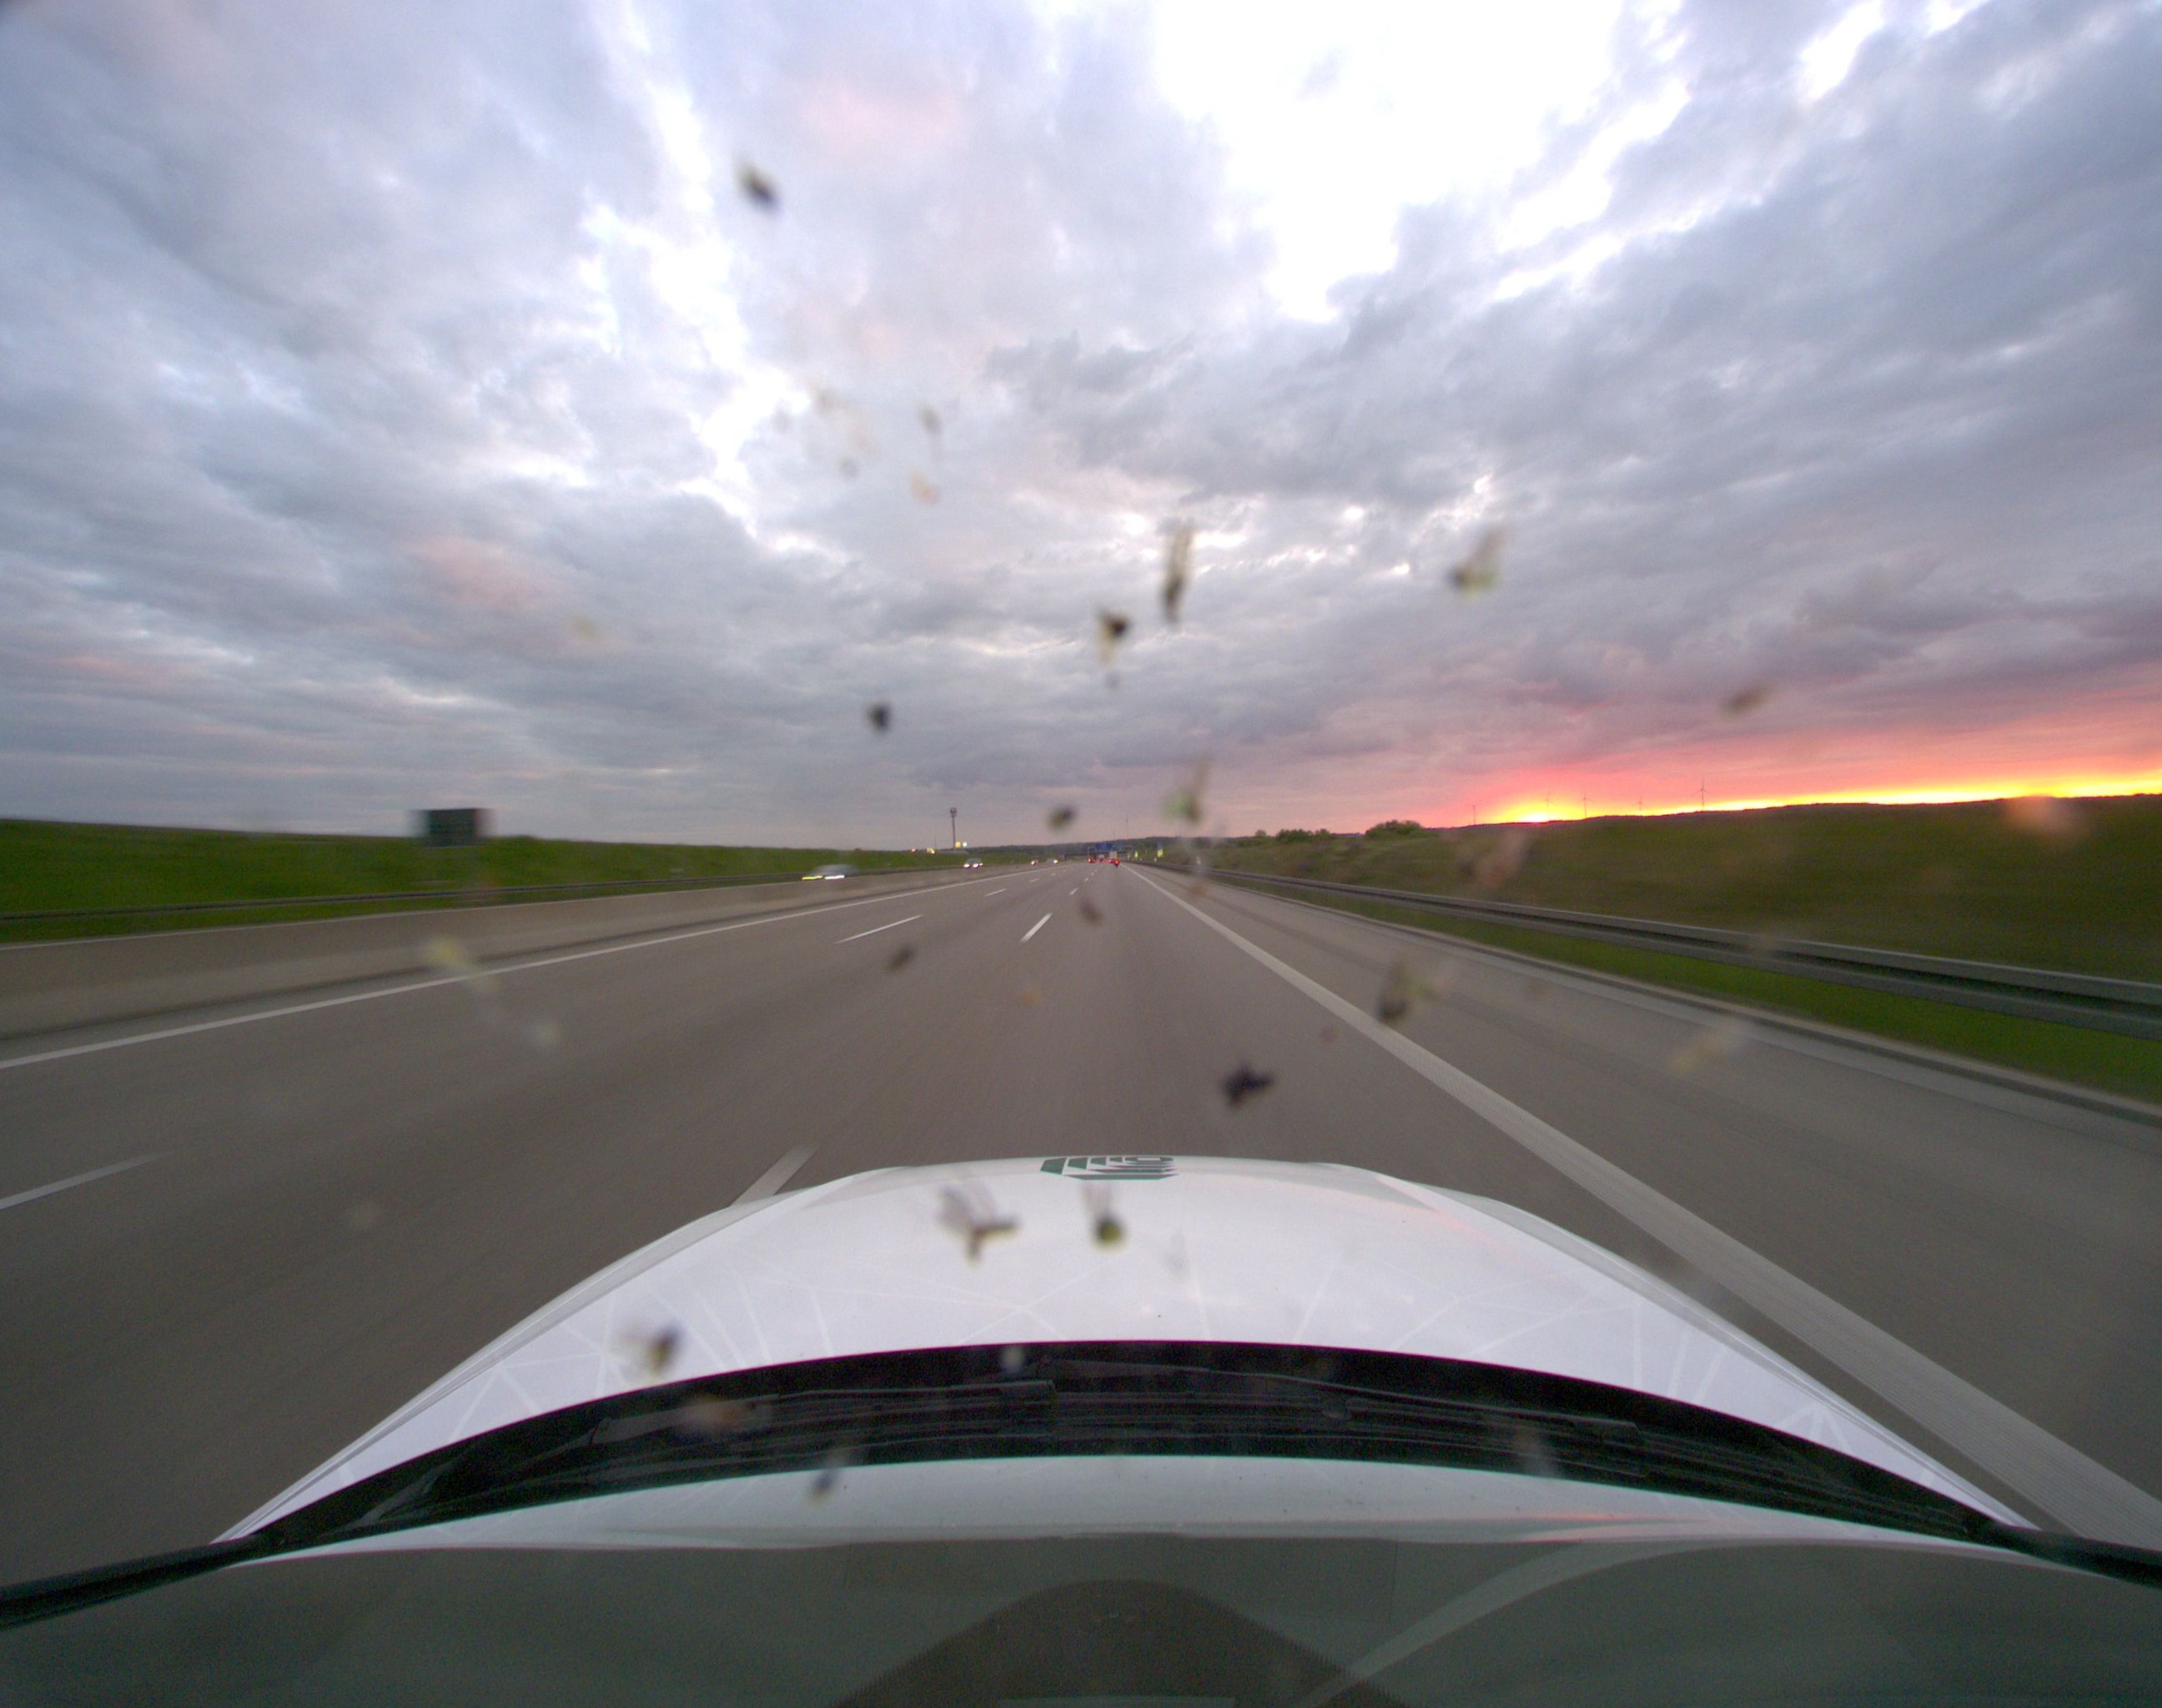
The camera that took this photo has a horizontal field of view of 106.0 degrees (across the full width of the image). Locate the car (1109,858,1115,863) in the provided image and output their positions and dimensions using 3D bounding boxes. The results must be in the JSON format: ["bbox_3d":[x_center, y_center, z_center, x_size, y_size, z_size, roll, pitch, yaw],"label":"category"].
[{"bbox_3d":[9.326,1.966,246.266,1.911,1.579,4.001,-2,-1,1],"label":"car"}]

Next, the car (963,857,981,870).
[{"bbox_3d":[-17.516,1.508,131.356,1.986,1.936,5.091,0,0,2],"label":"car"}]

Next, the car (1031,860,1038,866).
[{"bbox_3d":[-13.961,2.697,243.011,1.625,1.517,4.428,-1,0,1],"label":"car"}]

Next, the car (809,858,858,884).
[{"bbox_3d":[-16.856,1.139,55.747,1.817,1.662,4.653,0,0,2],"label":"car"}]

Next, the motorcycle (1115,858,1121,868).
[{"bbox_3d":[5.316,1.326,117.104,0.898,1.346,2.350,-1,0,2],"label":"motorcycle"}]

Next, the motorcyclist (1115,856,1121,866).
[{"bbox_3d":[5.325,0.976,116.989,0.862,1.488,1.169,0,0,3],"label":"motorcyclist"}]
